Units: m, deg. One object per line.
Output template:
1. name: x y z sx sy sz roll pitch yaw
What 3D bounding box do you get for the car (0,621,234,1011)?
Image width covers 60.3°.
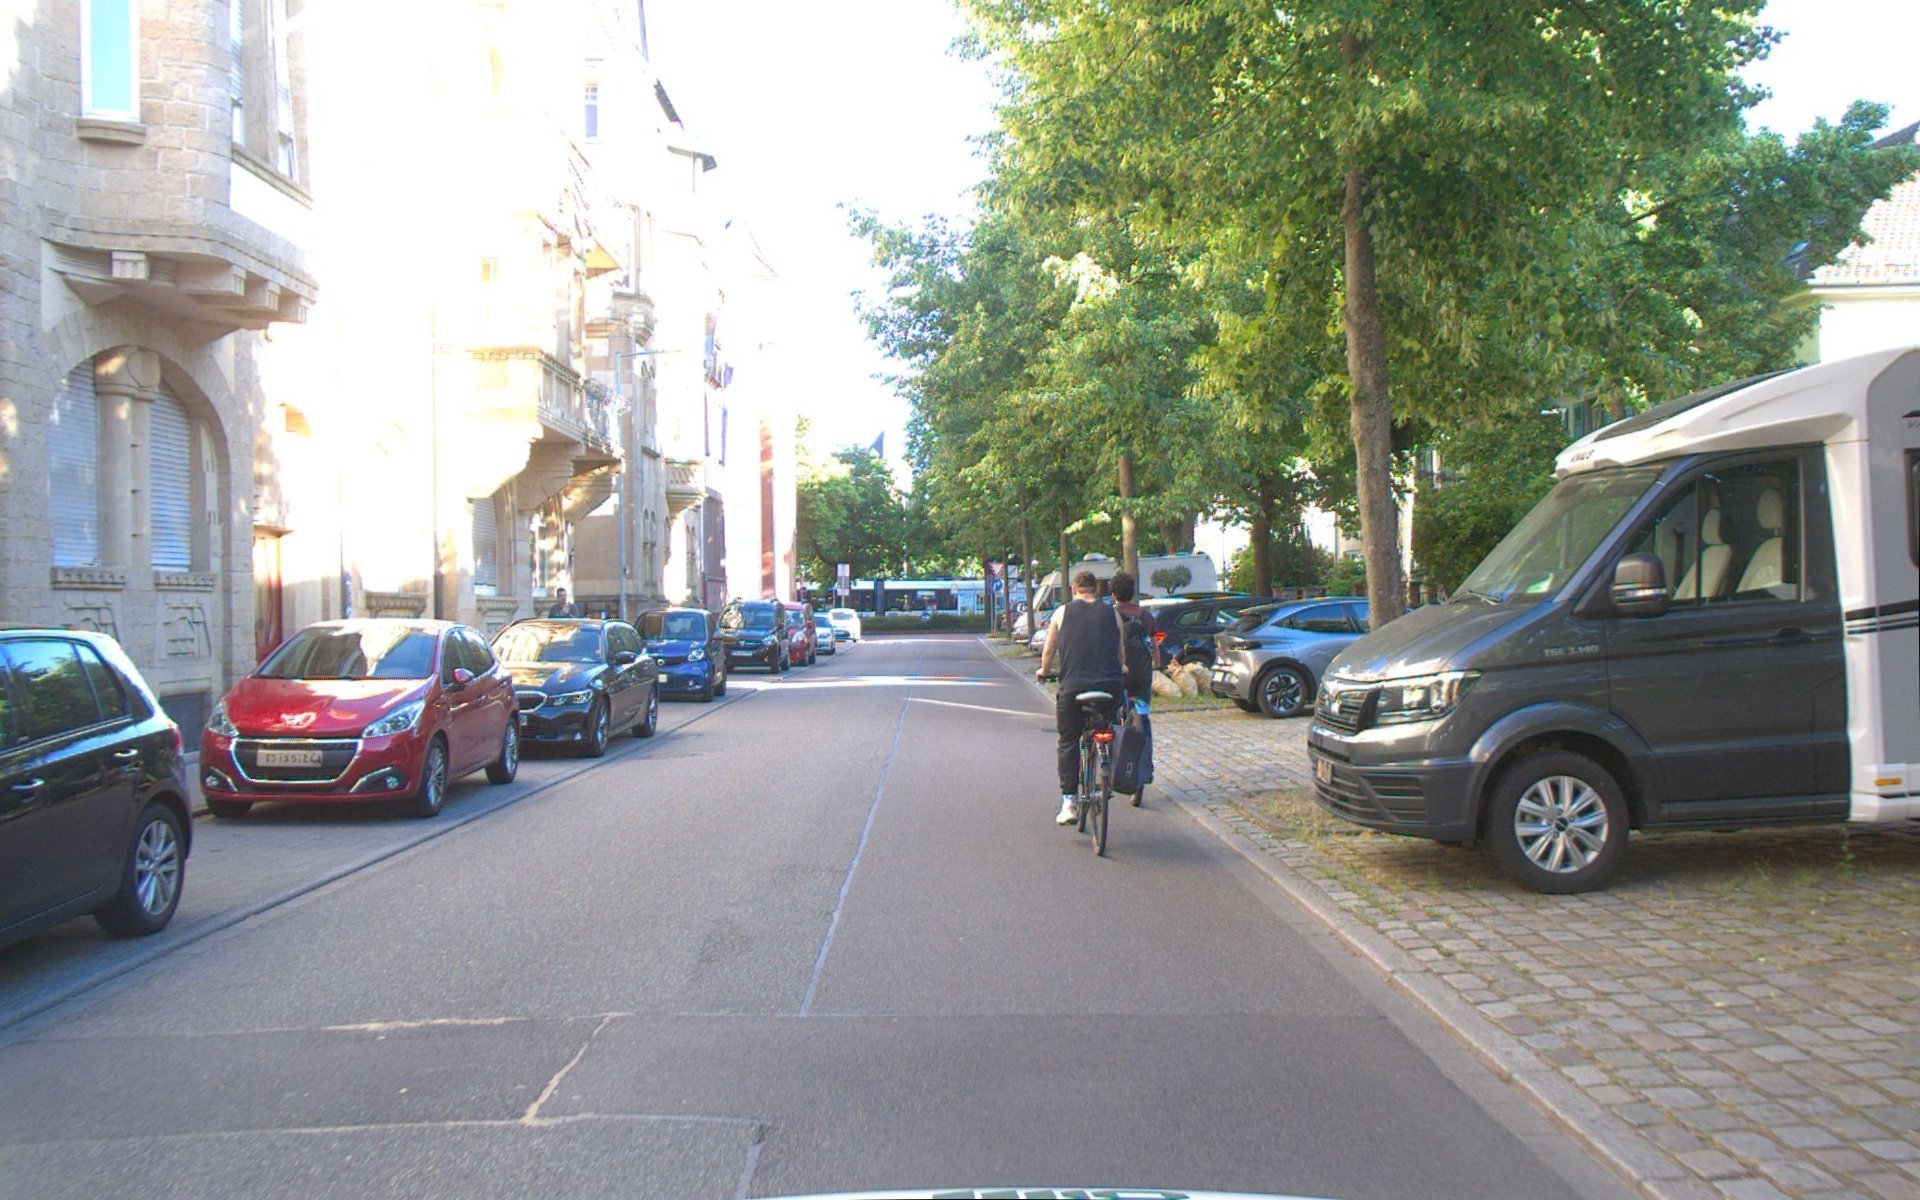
1. car: -4.479 0.831 6.424 1.662 1.479 4.025 -1 -1 -2

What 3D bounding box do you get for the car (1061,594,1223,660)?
1. car: 4.816 0.739 44.078 4.056 1.628 1.701 -1 -2 -3

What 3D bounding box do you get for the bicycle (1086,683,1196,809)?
1. bicycle: 1.396 1.110 13.003 0.620 0.813 1.832 -1 0 -1

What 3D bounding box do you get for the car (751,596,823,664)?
1. car: -5.030 0.841 48.542 1.654 1.857 4.272 1 0 0

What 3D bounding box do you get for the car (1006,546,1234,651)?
1. car: 5.167 -0.039 54.072 7.006 3.030 2.462 -3 0 -4

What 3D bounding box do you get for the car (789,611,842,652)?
1. car: -5.163 1.111 59.529 1.551 1.367 4.131 1 0 0

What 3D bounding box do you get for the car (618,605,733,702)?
1. car: -4.879 0.887 28.644 1.563 1.515 2.735 3 0 -2

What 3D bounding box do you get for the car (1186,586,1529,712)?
1. car: 5.031 0.604 21.238 3.953 1.479 1.689 -1 0 -5

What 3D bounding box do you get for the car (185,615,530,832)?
1. car: -4.731 0.889 13.557 1.596 1.479 3.835 0 0 -3

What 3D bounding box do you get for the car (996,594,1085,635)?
1. car: 3.697 0.669 76.308 3.907 1.835 1.833 0 -1 -3

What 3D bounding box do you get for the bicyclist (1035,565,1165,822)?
1. bicyclist: 0.887 0.583 10.669 0.715 1.575 0.884 1 -1 -2

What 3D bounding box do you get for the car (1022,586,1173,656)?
1. car: 3.847 0.592 46.744 4.002 1.678 1.640 -4 -1 -3

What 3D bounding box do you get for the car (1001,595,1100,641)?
1. car: 3.736 0.750 68.421 3.907 1.835 1.833 0 -1 -3

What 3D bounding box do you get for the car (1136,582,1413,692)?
1. car: 5.006 0.608 26.736 4.136 1.628 1.691 -1 -2 1

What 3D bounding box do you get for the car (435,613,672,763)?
1. car: -4.612 0.936 19.425 1.641 1.455 4.550 1 0 0

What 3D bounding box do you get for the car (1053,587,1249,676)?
1. car: 3.760 0.640 32.988 3.695 1.628 1.691 -1 -2 1

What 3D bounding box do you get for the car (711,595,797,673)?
1. car: -5.138 0.812 41.777 1.607 1.814 4.354 1 0 0

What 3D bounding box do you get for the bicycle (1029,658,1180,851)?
1. bicycle: 0.884 0.933 10.595 0.722 1.072 1.955 1 -1 -2

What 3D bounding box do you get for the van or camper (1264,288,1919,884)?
1. van or camper: 5.486 -0.225 9.234 7.001 2.693 2.465 -4 0 1

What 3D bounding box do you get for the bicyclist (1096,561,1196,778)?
1. bicyclist: 1.464 0.535 13.155 0.675 1.655 0.998 0 -1 0

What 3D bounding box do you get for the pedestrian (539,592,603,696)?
1. pedestrian: -6.764 0.758 28.793 0.919 1.773 0.735 0 -1 -1

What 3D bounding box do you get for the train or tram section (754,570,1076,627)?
1. train or tram section: -2.988 0.012 119.705 23.484 3.773 4.255 1 -1 -23

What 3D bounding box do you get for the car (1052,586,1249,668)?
1. car: 4.077 0.599 35.853 4.053 1.628 1.702 -1 -2 1

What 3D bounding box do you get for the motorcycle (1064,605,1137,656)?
1. motorcycle: 3.308 0.729 39.034 1.574 1.161 0.671 -2 -1 33

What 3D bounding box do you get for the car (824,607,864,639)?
1. car: -5.394 1.043 77.047 1.551 1.399 4.131 1 0 0
